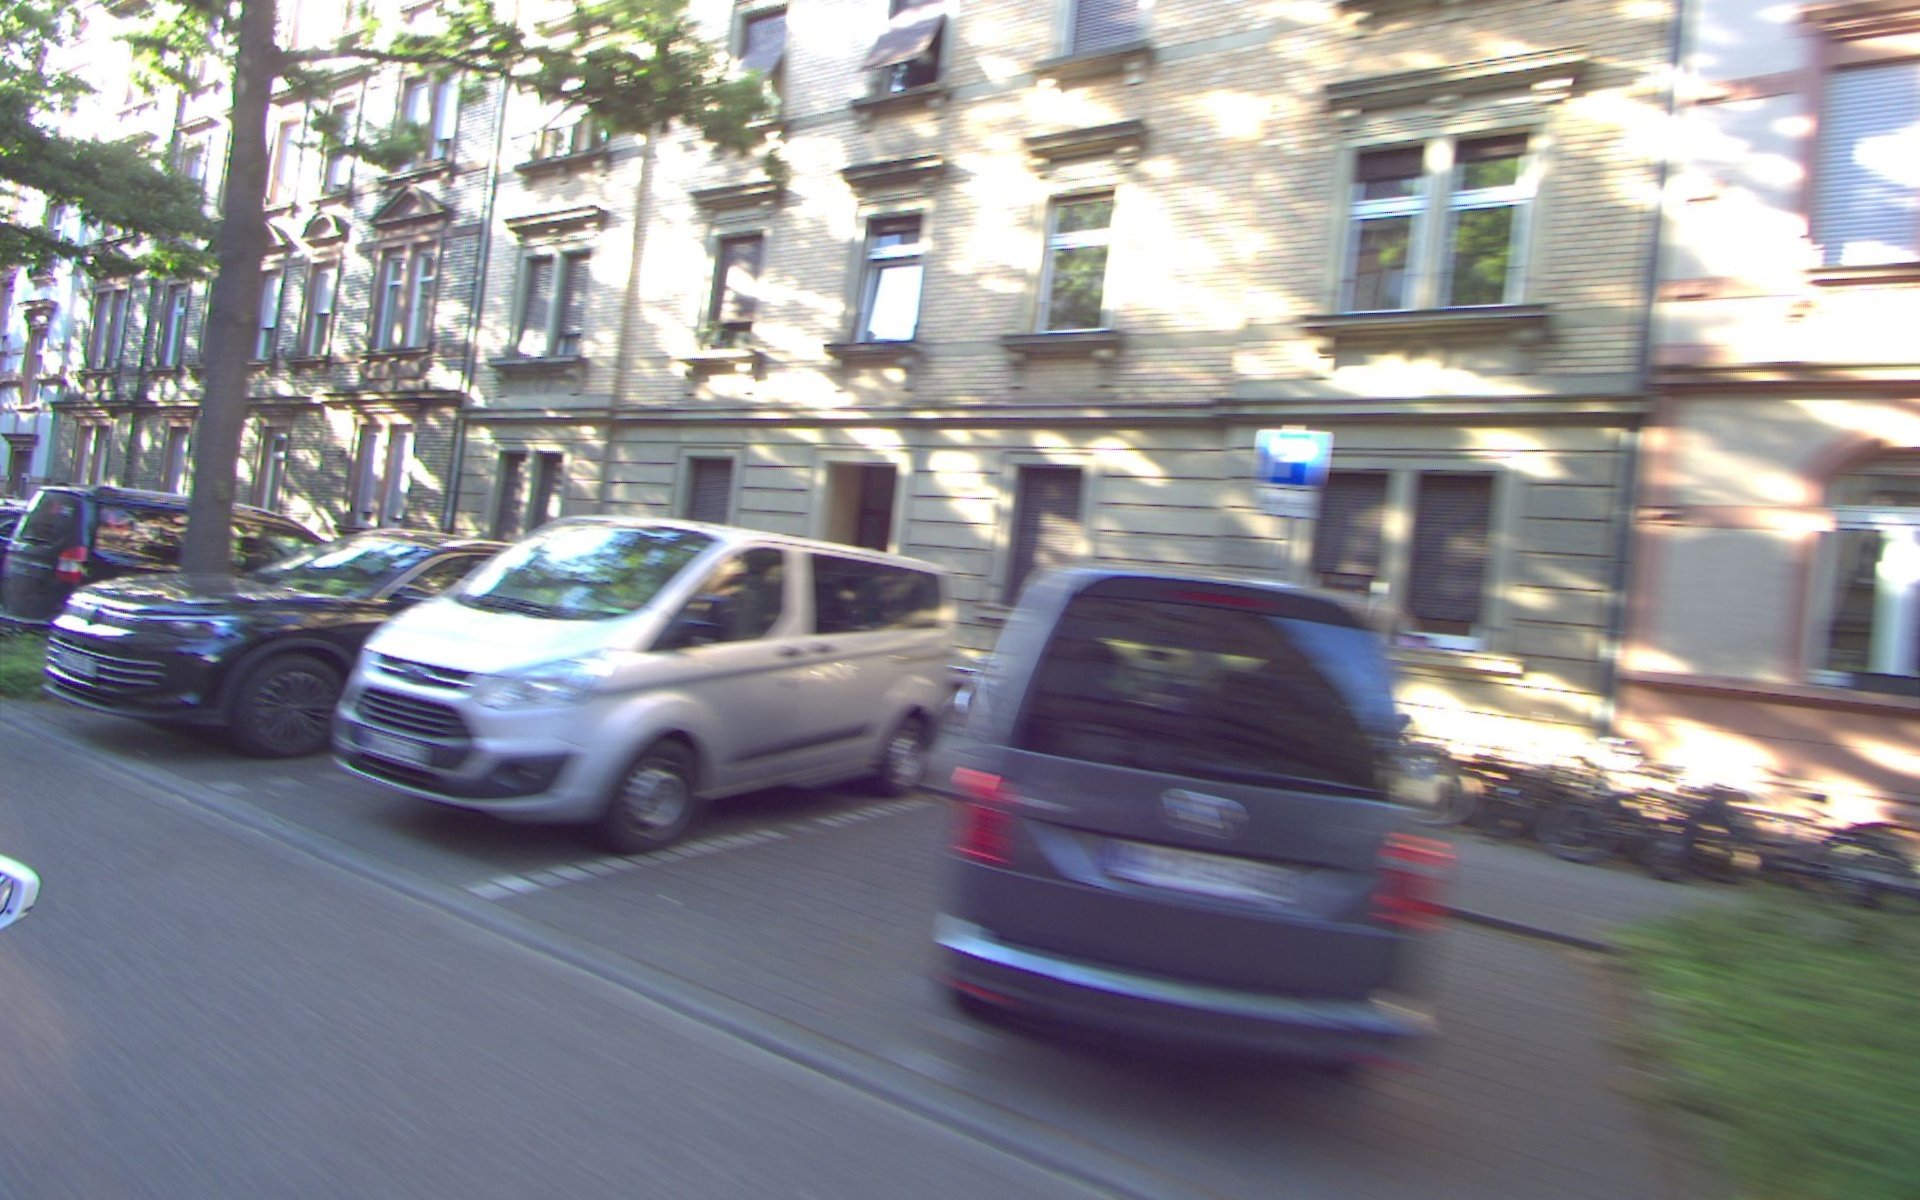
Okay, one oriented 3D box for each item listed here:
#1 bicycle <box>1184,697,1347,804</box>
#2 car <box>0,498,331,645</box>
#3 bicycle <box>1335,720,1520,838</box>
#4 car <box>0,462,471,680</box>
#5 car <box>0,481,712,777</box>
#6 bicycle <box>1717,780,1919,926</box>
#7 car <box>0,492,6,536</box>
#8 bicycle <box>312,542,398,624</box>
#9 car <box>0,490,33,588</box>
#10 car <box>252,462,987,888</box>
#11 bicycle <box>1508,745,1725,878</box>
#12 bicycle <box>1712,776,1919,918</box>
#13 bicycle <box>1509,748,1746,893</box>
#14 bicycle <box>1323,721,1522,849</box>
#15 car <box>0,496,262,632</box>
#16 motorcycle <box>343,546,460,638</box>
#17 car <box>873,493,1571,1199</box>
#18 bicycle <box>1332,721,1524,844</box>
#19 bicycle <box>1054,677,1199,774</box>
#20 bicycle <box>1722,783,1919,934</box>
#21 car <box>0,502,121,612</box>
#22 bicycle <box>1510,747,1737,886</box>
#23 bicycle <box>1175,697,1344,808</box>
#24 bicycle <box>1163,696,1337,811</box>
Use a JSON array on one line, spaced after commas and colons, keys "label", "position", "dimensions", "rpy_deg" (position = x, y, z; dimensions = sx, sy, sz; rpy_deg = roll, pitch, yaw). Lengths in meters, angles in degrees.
[{"label": "bicycle", "position": [3.240, 1.581, 10.737], "dimensions": [1.553, 0.865, 0.307], "rpy_deg": [7, -1, 31]}, {"label": "car", "position": [-10.520, -0.357, 12.445], "dimensions": [1.903, 1.473, 4.153], "rpy_deg": [7, -1, 29]}, {"label": "bicycle", "position": [4.600, 1.738, 9.944], "dimensions": [1.553, 0.865, 0.343], "rpy_deg": [7, -1, 31]}, {"label": "car", "position": [-8.129, -0.202, 11.378], "dimensions": [1.913, 1.809, 4.134], "rpy_deg": [7, -2, 32]}, {"label": "car", "position": [-4.628, 0.239, 8.622], "dimensions": [2.042, 1.653, 4.929], "rpy_deg": [7, 0, 26]}, {"label": "bicycle", "position": [7.013, 2.020, 8.074], "dimensions": [1.386, 0.865, 0.399], "rpy_deg": [7, -1, 31]}, {"label": "car", "position": [-21.137, -1.617, 18.688], "dimensions": [1.859, 1.674, 4.489], "rpy_deg": [5, -3, 28]}, {"label": "bicycle", "position": [-11.418, -0.332, 18.977], "dimensions": [1.851, 1.334, 0.368], "rpy_deg": [7, -1, 29]}, {"label": "car", "position": [-18.645, -1.358, 16.590], "dimensions": [1.860, 1.674, 4.486], "rpy_deg": [5, -3, 31]}, {"label": "car", "position": [-1.890, 0.410, 7.414], "dimensions": [2.138, 1.925, 4.929], "rpy_deg": [7, 0, 26]}, {"label": "bicycle", "position": [5.940, 1.893, 9.181], "dimensions": [1.553, 0.865, 0.362], "rpy_deg": [7, -1, 31]}, {"label": "bicycle", "position": [7.289, 2.048, 8.366], "dimensions": [1.553, 0.865, 0.362], "rpy_deg": [7, -1, 31]}, {"label": "bicycle", "position": [5.564, 1.819, 8.474], "dimensions": [1.553, 0.865, 0.362], "rpy_deg": [7, -1, 31]}, {"label": "bicycle", "position": [4.238, 1.666, 9.266], "dimensions": [1.553, 0.865, 0.343], "rpy_deg": [7, -1, 31]}, {"label": "car", "position": [-12.424, -0.533, 14.037], "dimensions": [1.657, 1.512, 3.999], "rpy_deg": [7, -2, 27]}, {"label": "motorcycle", "position": [-9.675, -0.143, 17.422], "dimensions": [1.851, 1.334, 0.764], "rpy_deg": [7, -1, 29]}, {"label": "car", "position": [1.093, 0.807, 5.413], "dimensions": [1.872, 1.913, 4.682], "rpy_deg": [7, -1, 8]}, {"label": "bicycle", "position": [4.441, 1.705, 9.595], "dimensions": [1.553, 0.865, 0.343], "rpy_deg": [7, -1, 31]}, {"label": "bicycle", "position": [1.904, 1.430, 11.600], "dimensions": [1.553, 0.865, 0.307], "rpy_deg": [7, -1, 31]}, {"label": "bicycle", "position": [6.763, 1.972, 7.681], "dimensions": [1.386, 0.865, 0.399], "rpy_deg": [7, -1, 31]}, {"label": "car", "position": [-14.891, -0.825, 14.405], "dimensions": [1.659, 1.473, 3.996], "rpy_deg": [7, -2, 30]}, {"label": "bicycle", "position": [5.760, 1.857, 8.816], "dimensions": [1.553, 0.865, 0.362], "rpy_deg": [7, -1, 31]}, {"label": "bicycle", "position": [3.078, 1.548, 10.412], "dimensions": [1.553, 0.865, 0.343], "rpy_deg": [7, -1, 31]}, {"label": "bicycle", "position": [2.890, 1.512, 10.094], "dimensions": [1.553, 0.865, 0.343], "rpy_deg": [7, -1, 31]}]
